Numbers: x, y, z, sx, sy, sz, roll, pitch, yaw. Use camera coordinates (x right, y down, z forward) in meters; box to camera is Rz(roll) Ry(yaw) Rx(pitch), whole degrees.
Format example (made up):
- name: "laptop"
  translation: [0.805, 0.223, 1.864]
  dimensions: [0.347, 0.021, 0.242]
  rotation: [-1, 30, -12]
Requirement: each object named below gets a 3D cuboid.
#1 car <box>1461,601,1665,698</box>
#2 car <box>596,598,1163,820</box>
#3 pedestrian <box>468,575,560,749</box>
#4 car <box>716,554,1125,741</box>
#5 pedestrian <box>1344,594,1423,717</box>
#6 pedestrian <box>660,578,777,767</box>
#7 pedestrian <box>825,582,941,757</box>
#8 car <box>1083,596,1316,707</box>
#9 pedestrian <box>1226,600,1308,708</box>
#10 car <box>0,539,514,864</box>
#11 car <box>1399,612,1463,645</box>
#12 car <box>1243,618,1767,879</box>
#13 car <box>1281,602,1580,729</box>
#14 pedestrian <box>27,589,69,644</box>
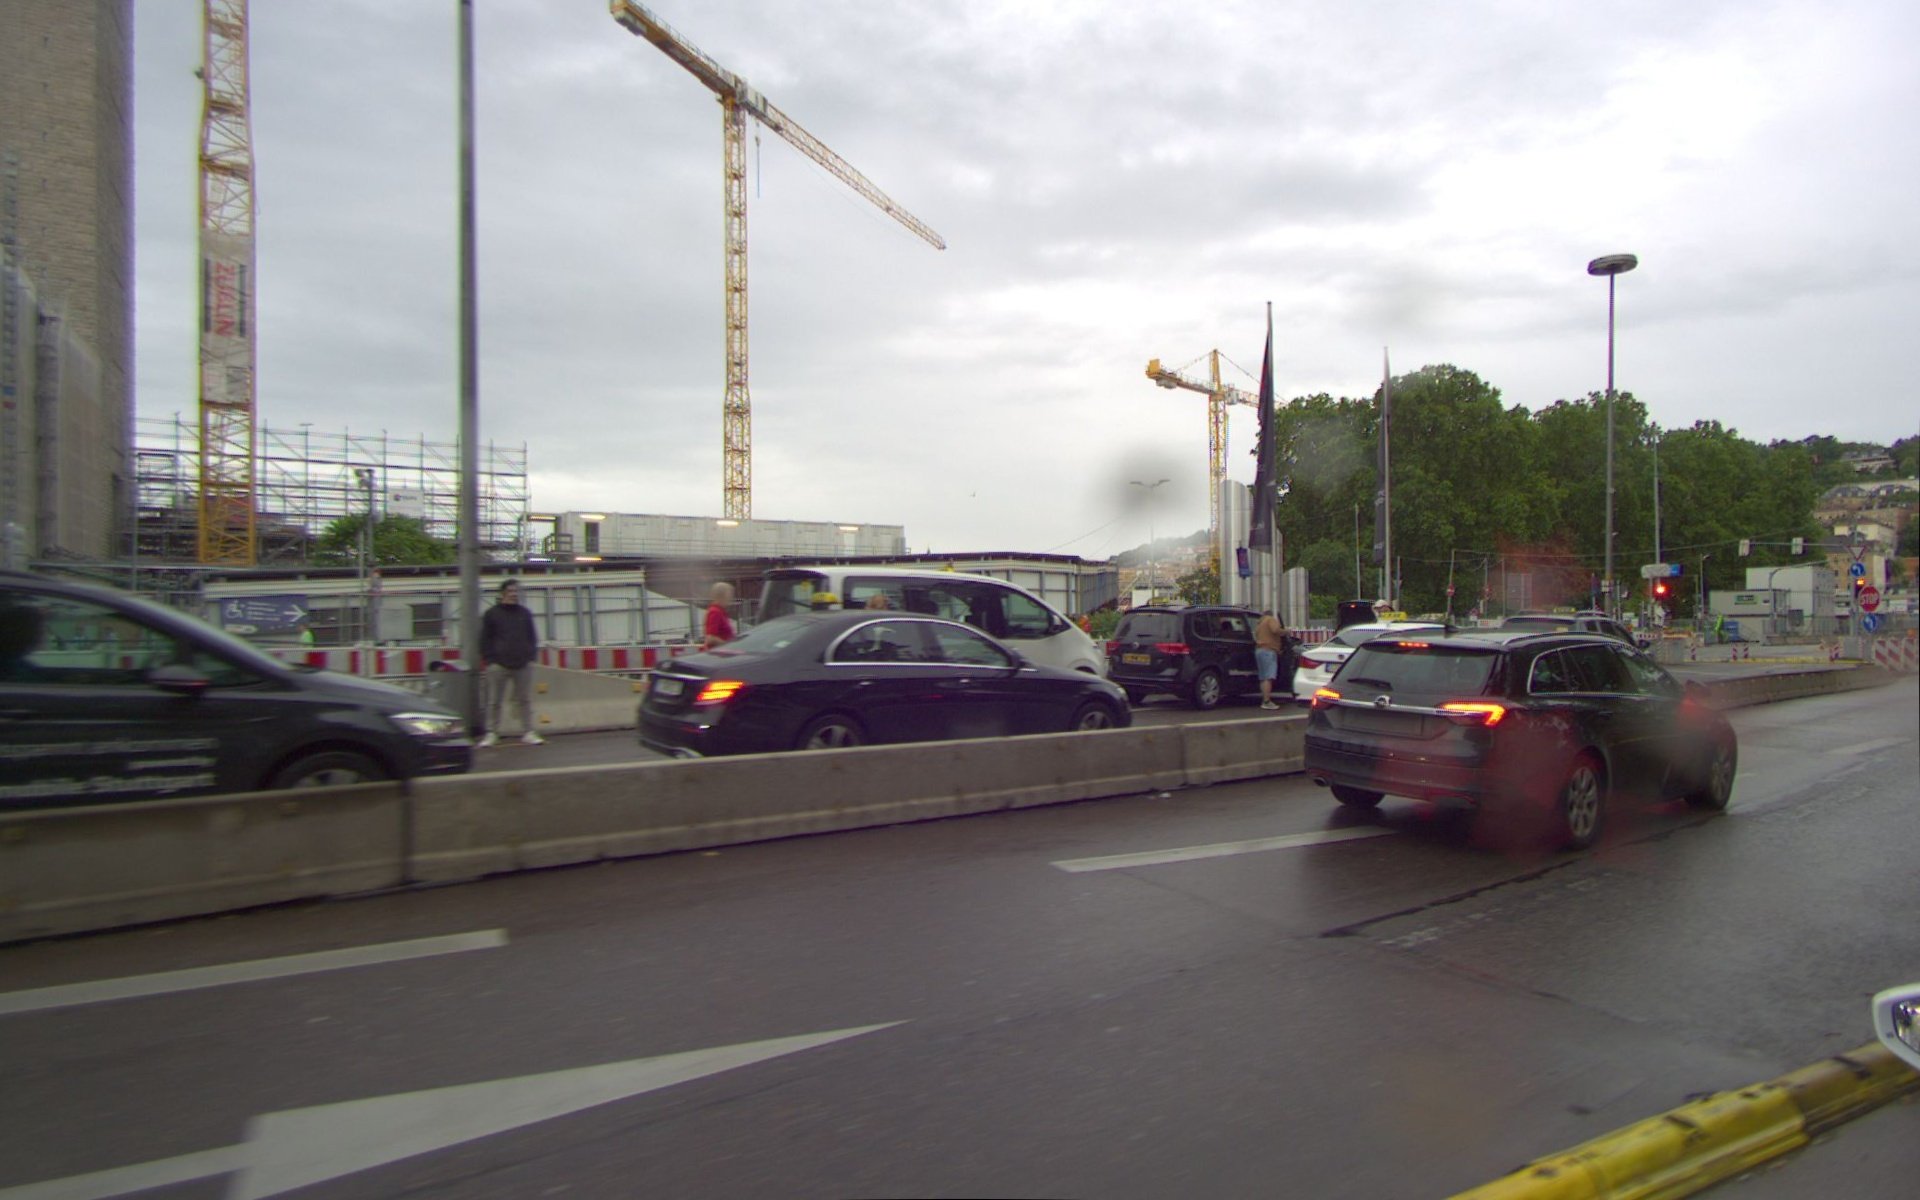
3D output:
- name: "car"
  translation: [10.980, 0.885, 18.201]
  dimensions: [4.120, 1.550, 1.977]
  rotation: [2, -3, -41]
- name: "car"
  translation: [-0.532, 0.811, 9.269]
  dimensions: [4.960, 1.531, 1.958]
  rotation: [2, -1, -38]
- name: "pedestrian"
  translation: [-4.779, 0.643, 10.758]
  dimensions: [0.813, 1.776, 0.631]
  rotation: [1, 0, -30]
- name: "car"
  translation: [-0.347, 0.579, 13.435]
  dimensions: [5.323, 2.040, 1.978]
  rotation: [2, -1, -39]
- name: "pedestrian"
  translation: [7.260, 0.929, 17.256]
  dimensions: [0.821, 2.040, 1.026]
  rotation: [0, -1, -10]
- name: "pedestrian"
  translation: [-2.340, 0.666, 9.682]
  dimensions: [0.826, 1.697, 1.019]
  rotation: [1, -1, -31]
- name: "pedestrian"
  translation: [-0.848, 0.732, 10.993]
  dimensions: [1.016, 1.807, 0.829]
  rotation: [1, -1, -31]
- name: "car"
  translation: [4.094, 0.809, 16.904]
  dimensions: [4.020, 1.651, 1.701]
  rotation: [1, -1, -38]
- name: "pedestrian"
  translation: [5.026, 0.860, 16.441]
  dimensions: [1.016, 1.704, 0.829]
  rotation: [1, -1, -31]
- name: "car"
  translation: [-5.028, 0.476, 5.484]
  dimensions: [4.449, 1.531, 1.810]
  rotation: [2, -1, -37]
- name: "car"
  translation: [40.391, 2.438, 86.128]
  dimensions: [5.728, 2.737, 2.370]
  rotation: [1, -3, -34]
- name: "car"
  translation: [4.577, 0.931, 8.110]
  dimensions: [4.805, 1.528, 1.865]
  rotation: [1, -1, -36]
- name: "car"
  translation: [7.041, 0.907, 14.826]
  dimensions: [4.831, 1.588, 1.979]
  rotation: [2, -3, -37]
- name: "pedestrian"
  translation: [-32.132, 0.587, 35.395]
  dimensions: [0.789, 1.906, 0.659]
  rotation: [1, -2, -4]
